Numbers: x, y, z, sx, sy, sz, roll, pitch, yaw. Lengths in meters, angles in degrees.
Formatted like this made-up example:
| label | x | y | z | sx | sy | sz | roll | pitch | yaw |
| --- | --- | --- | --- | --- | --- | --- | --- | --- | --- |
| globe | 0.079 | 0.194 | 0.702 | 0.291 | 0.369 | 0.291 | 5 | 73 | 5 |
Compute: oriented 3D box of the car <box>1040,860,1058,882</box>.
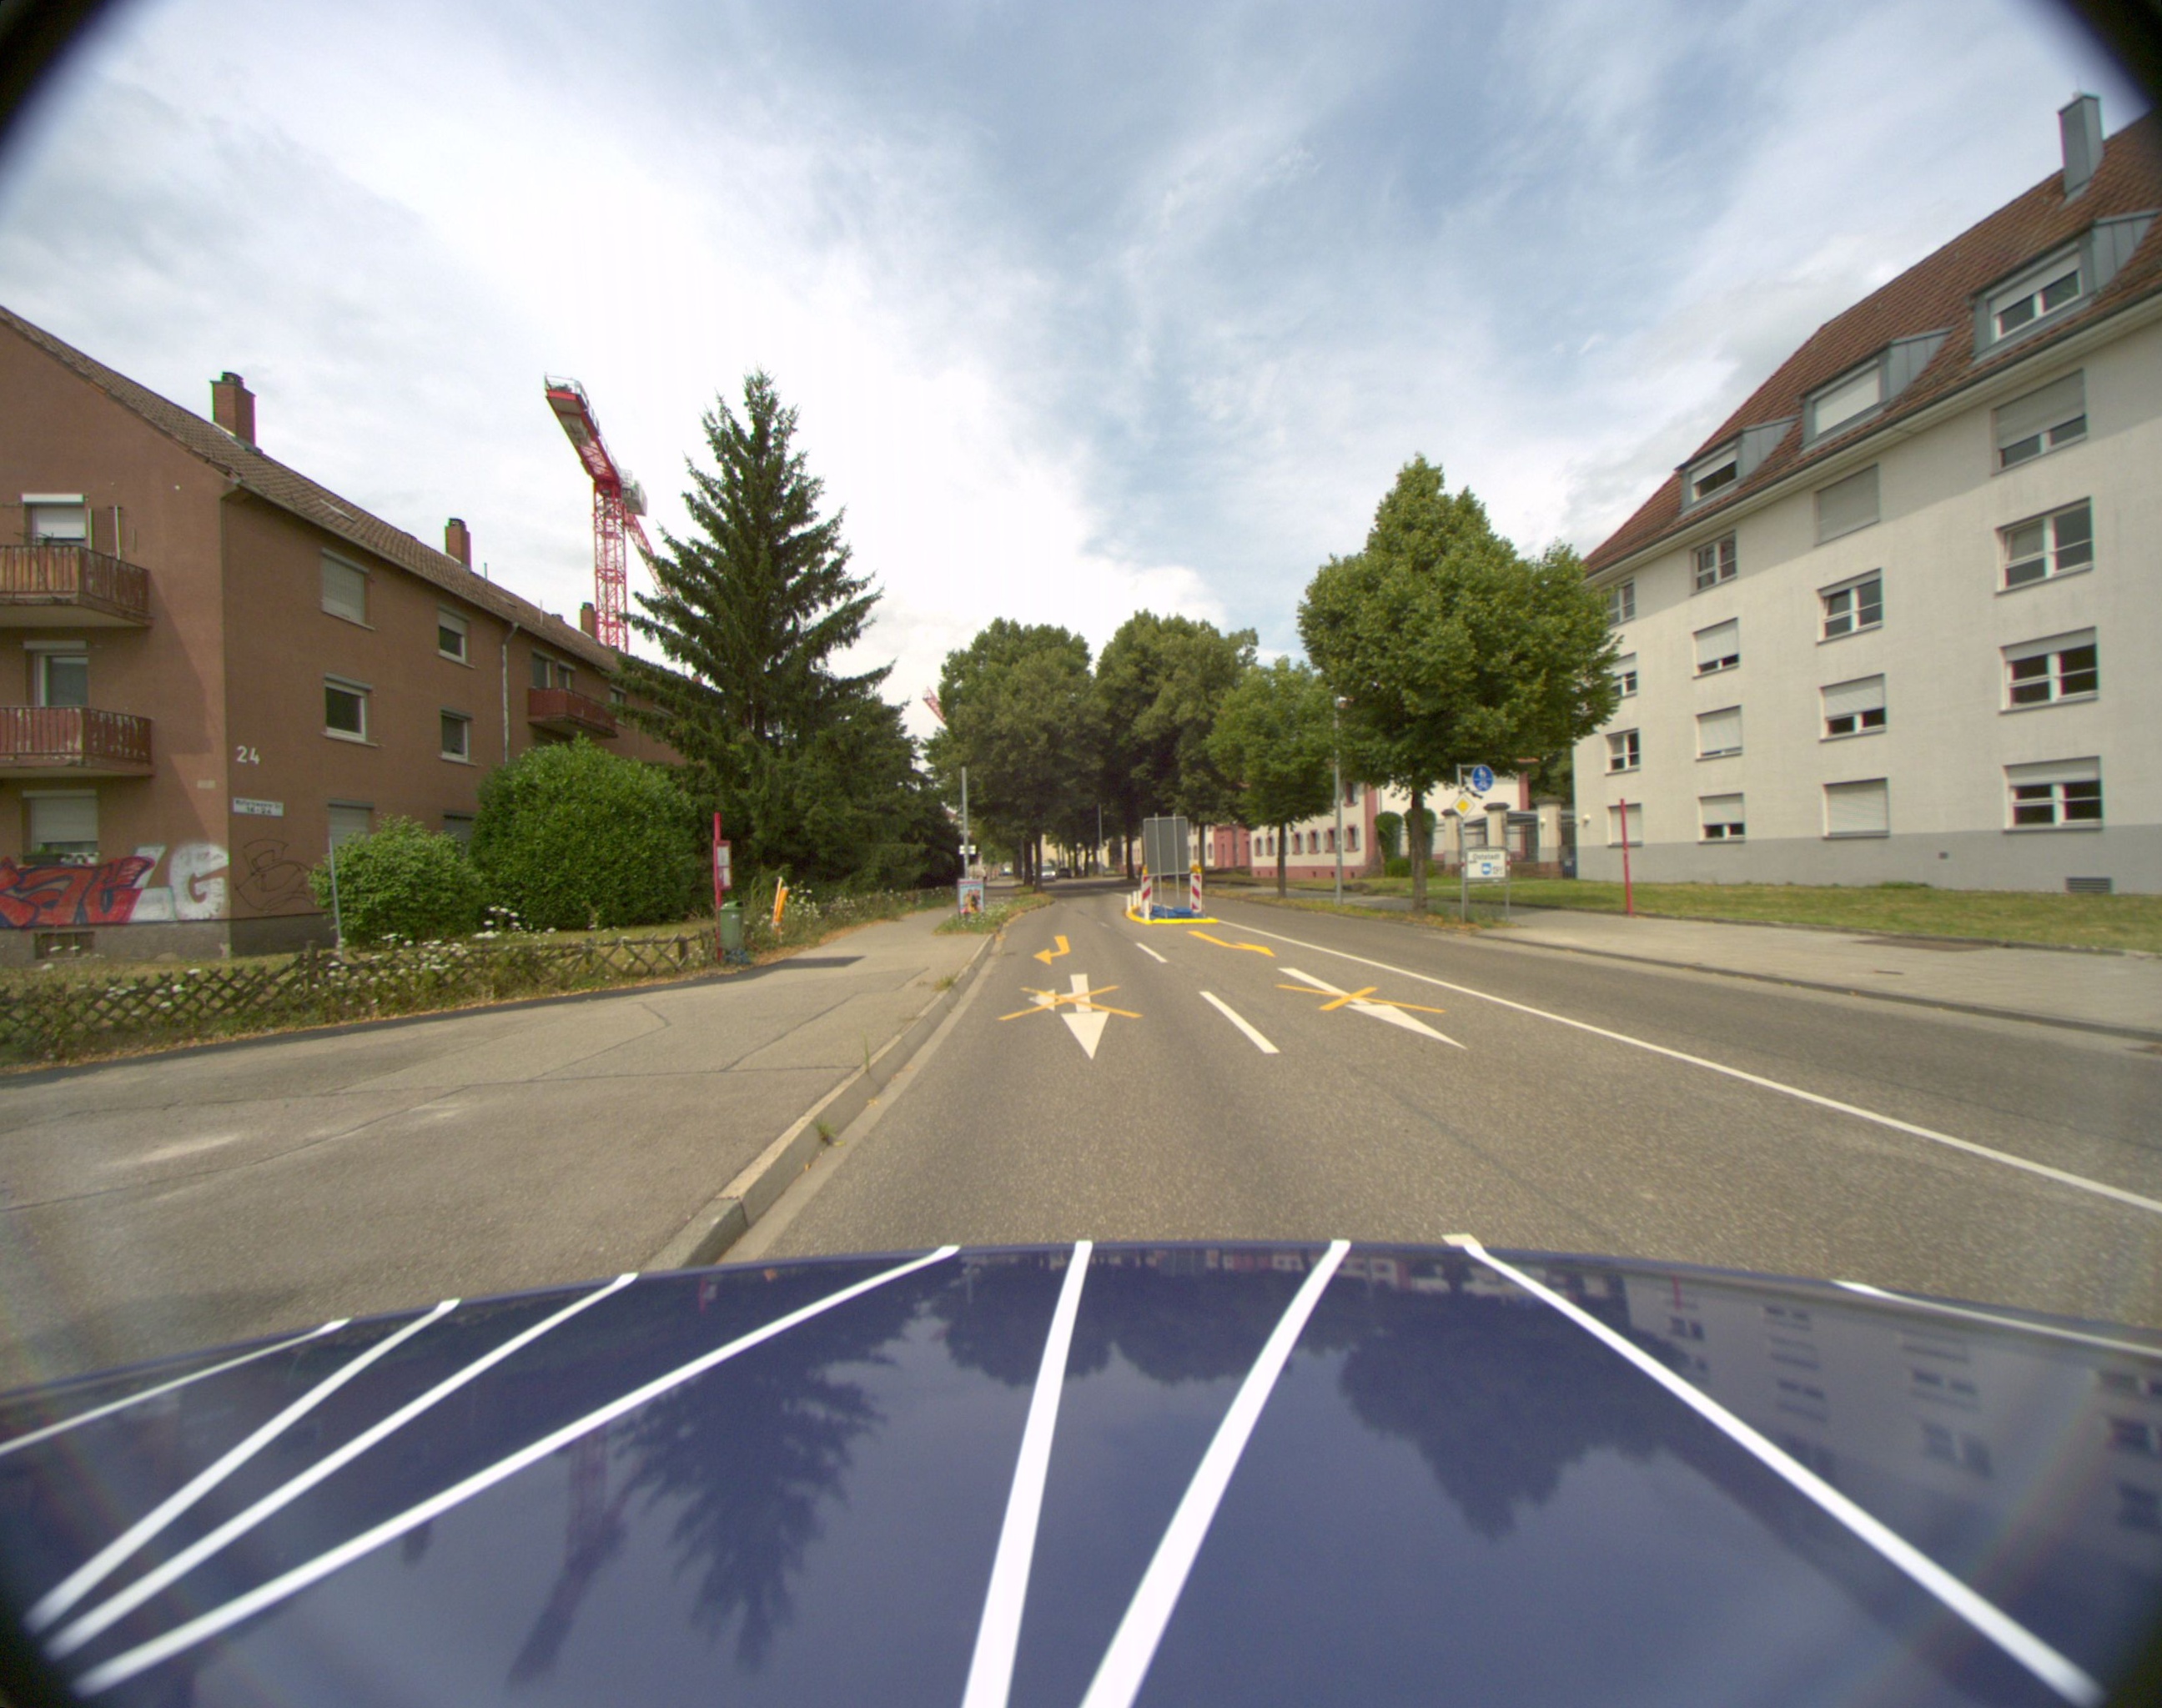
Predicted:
| label | x | y | z | sx | sy | sz | roll | pitch | yaw |
| --- | --- | --- | --- | --- | --- | --- | --- | --- | --- |
| car | -3.043 | 1.624 | 71.961 | 1.678 | 1.710 | 4.388 | -1 | -5 | -3 |

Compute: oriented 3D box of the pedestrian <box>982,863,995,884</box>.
| label | x | y | z | sx | sy | sz | roll | pitch | yaw |
| --- | --- | --- | --- | --- | --- | --- | --- | --- | --- |
| pedestrian | -8.076 | 1.738 | 66.626 | 0.883 | 1.803 | 0.890 | 0 | -1 | 13 |

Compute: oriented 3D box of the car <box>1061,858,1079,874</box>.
| label | x | y | z | sx | sy | sz | roll | pitch | yaw |
| --- | --- | --- | --- | --- | --- | --- | --- | --- | --- |
| car | -1.389 | 1.523 | 94.216 | 2.010 | 1.432 | 4.389 | -1 | -7 | -3 |

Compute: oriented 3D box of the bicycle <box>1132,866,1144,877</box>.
| label | x | y | z | sx | sy | sz | roll | pitch | yaw |
| --- | --- | --- | --- | --- | --- | --- | --- | --- | --- |
| bicycle | 6.105 | 1.842 | 81.544 | 0.725 | 1.088 | 2.225 | -6 | -1 | -6 |
